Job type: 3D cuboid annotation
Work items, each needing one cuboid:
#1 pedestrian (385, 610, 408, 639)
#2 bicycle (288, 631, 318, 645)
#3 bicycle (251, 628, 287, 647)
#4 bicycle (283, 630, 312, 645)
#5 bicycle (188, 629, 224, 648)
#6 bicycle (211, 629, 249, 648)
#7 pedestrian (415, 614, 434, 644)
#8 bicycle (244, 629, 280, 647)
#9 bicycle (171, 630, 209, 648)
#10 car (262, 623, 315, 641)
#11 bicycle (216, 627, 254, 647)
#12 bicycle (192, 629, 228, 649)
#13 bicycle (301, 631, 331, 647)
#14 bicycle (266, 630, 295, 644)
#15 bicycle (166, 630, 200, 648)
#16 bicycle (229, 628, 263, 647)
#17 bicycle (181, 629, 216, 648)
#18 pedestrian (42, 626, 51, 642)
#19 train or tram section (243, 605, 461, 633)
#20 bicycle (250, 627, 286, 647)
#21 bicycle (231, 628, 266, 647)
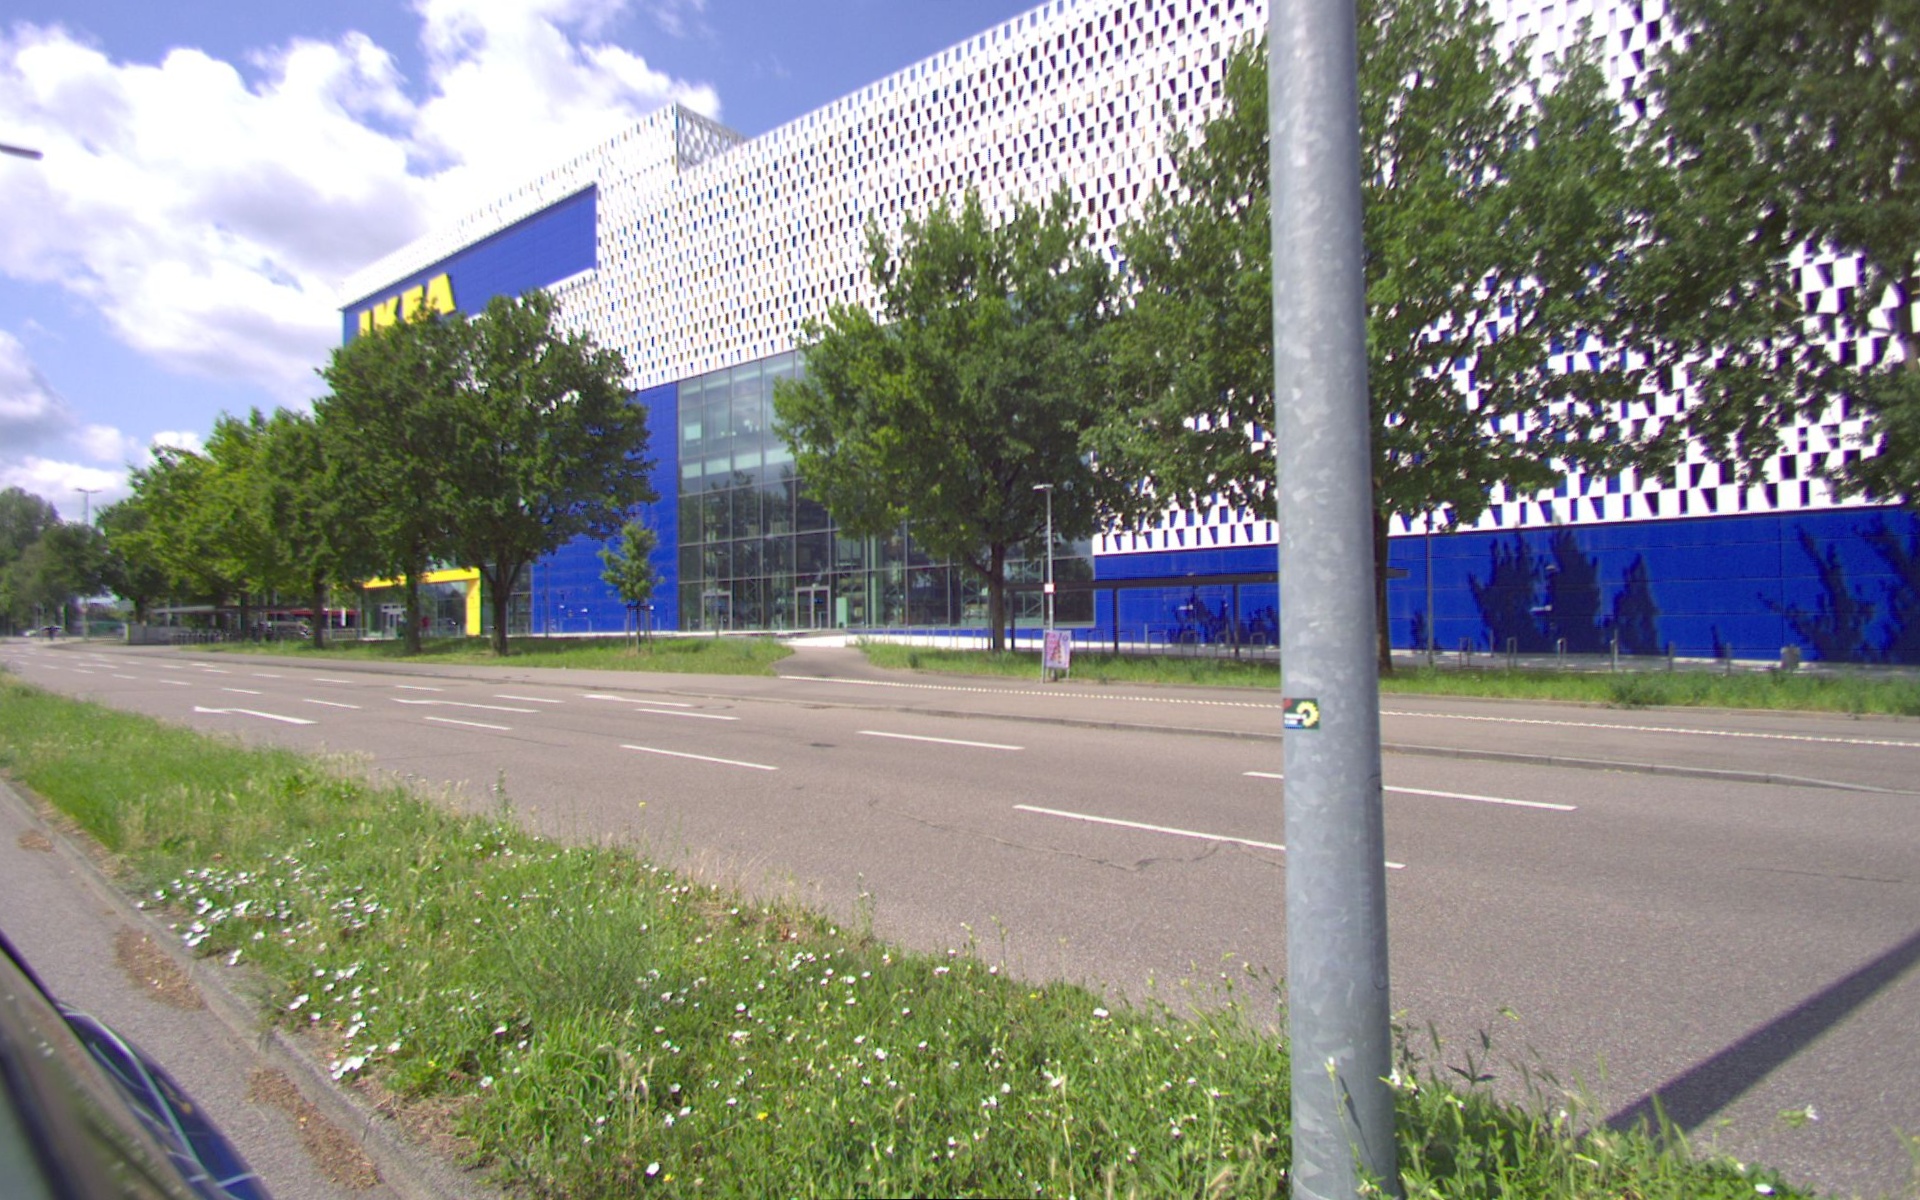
[{"bbox_3d":[-34.104,1.482,61.213,0.886,1.715,0.941,-2,-1,39],"label":"pedestrian"},{"bbox_3d":[-52.528,3.009,80.902,0.528,1.078,1.917,-1,-1,35],"label":"bicycle"},{"bbox_3d":[-46.419,2.518,68.024,0.629,1.193,1.906,-3,-2,39],"label":"bicycle"},{"bbox_3d":[-53.405,3.032,81.551,0.519,1.098,1.913,-3,-2,35],"label":"bicycle"},{"bbox_3d":[-52.856,2.700,70.928,0.629,1.282,1.906,-3,-2,39],"label":"bicycle"},{"bbox_3d":[-48.346,2.562,67.031,0.629,1.192,1.906,-3,-2,39],"label":"bicycle"},{"bbox_3d":[-33.139,1.782,62.662,0.886,1.836,0.746,-2,-1,39],"label":"pedestrian"},{"bbox_3d":[-47.865,2.597,69.394,0.629,1.188,1.906,-3,-2,39],"label":"bicycle"},{"bbox_3d":[-54.967,2.783,72.285,0.629,1.282,2.068,-3,-2,39],"label":"bicycle"},{"bbox_3d":[-79.131,3.741,119.330,1.996,2.029,4.764,-3,-2,36],"label":"car"},{"bbox_3d":[-47.510,2.435,66.333,0.629,1.282,1.906,-3,-2,39],"label":"bicycle"},{"bbox_3d":[-52.040,2.691,70.215,0.629,1.282,1.906,-3,-2,39],"label":"bicycle"},{"bbox_3d":[-50.512,3.044,79.405,0.596,1.253,1.928,-1,-1,35],"label":"bicycle"},{"bbox_3d":[-55.804,3.038,83.067,0.528,1.078,1.917,-1,-1,35],"label":"bicycle"},{"bbox_3d":[-56.764,2.841,73.929,0.629,1.282,1.906,-3,-2,39],"label":"bicycle"},{"bbox_3d":[-50.720,2.683,71.885,0.629,1.282,1.906,-3,-2,39],"label":"bicycle"},{"bbox_3d":[-53.905,2.727,71.679,0.629,1.282,1.906,-3,-2,39],"label":"bicycle"},{"bbox_3d":[-85.339,3.200,94.556,0.616,1.502,0.435,-1,-1,23],"label":"pedestrian"},{"bbox_3d":[-79.611,2.693,134.102,4.524,3.055,24.808,-2,-3,37],"label":"train or tram section"},{"bbox_3d":[-46.961,2.512,68.690,0.629,1.282,1.906,-3,-2,39],"label":"bicycle"},{"bbox_3d":[-50.032,2.603,71.137,0.629,1.282,1.906,-3,-2,39],"label":"bicycle"}]
